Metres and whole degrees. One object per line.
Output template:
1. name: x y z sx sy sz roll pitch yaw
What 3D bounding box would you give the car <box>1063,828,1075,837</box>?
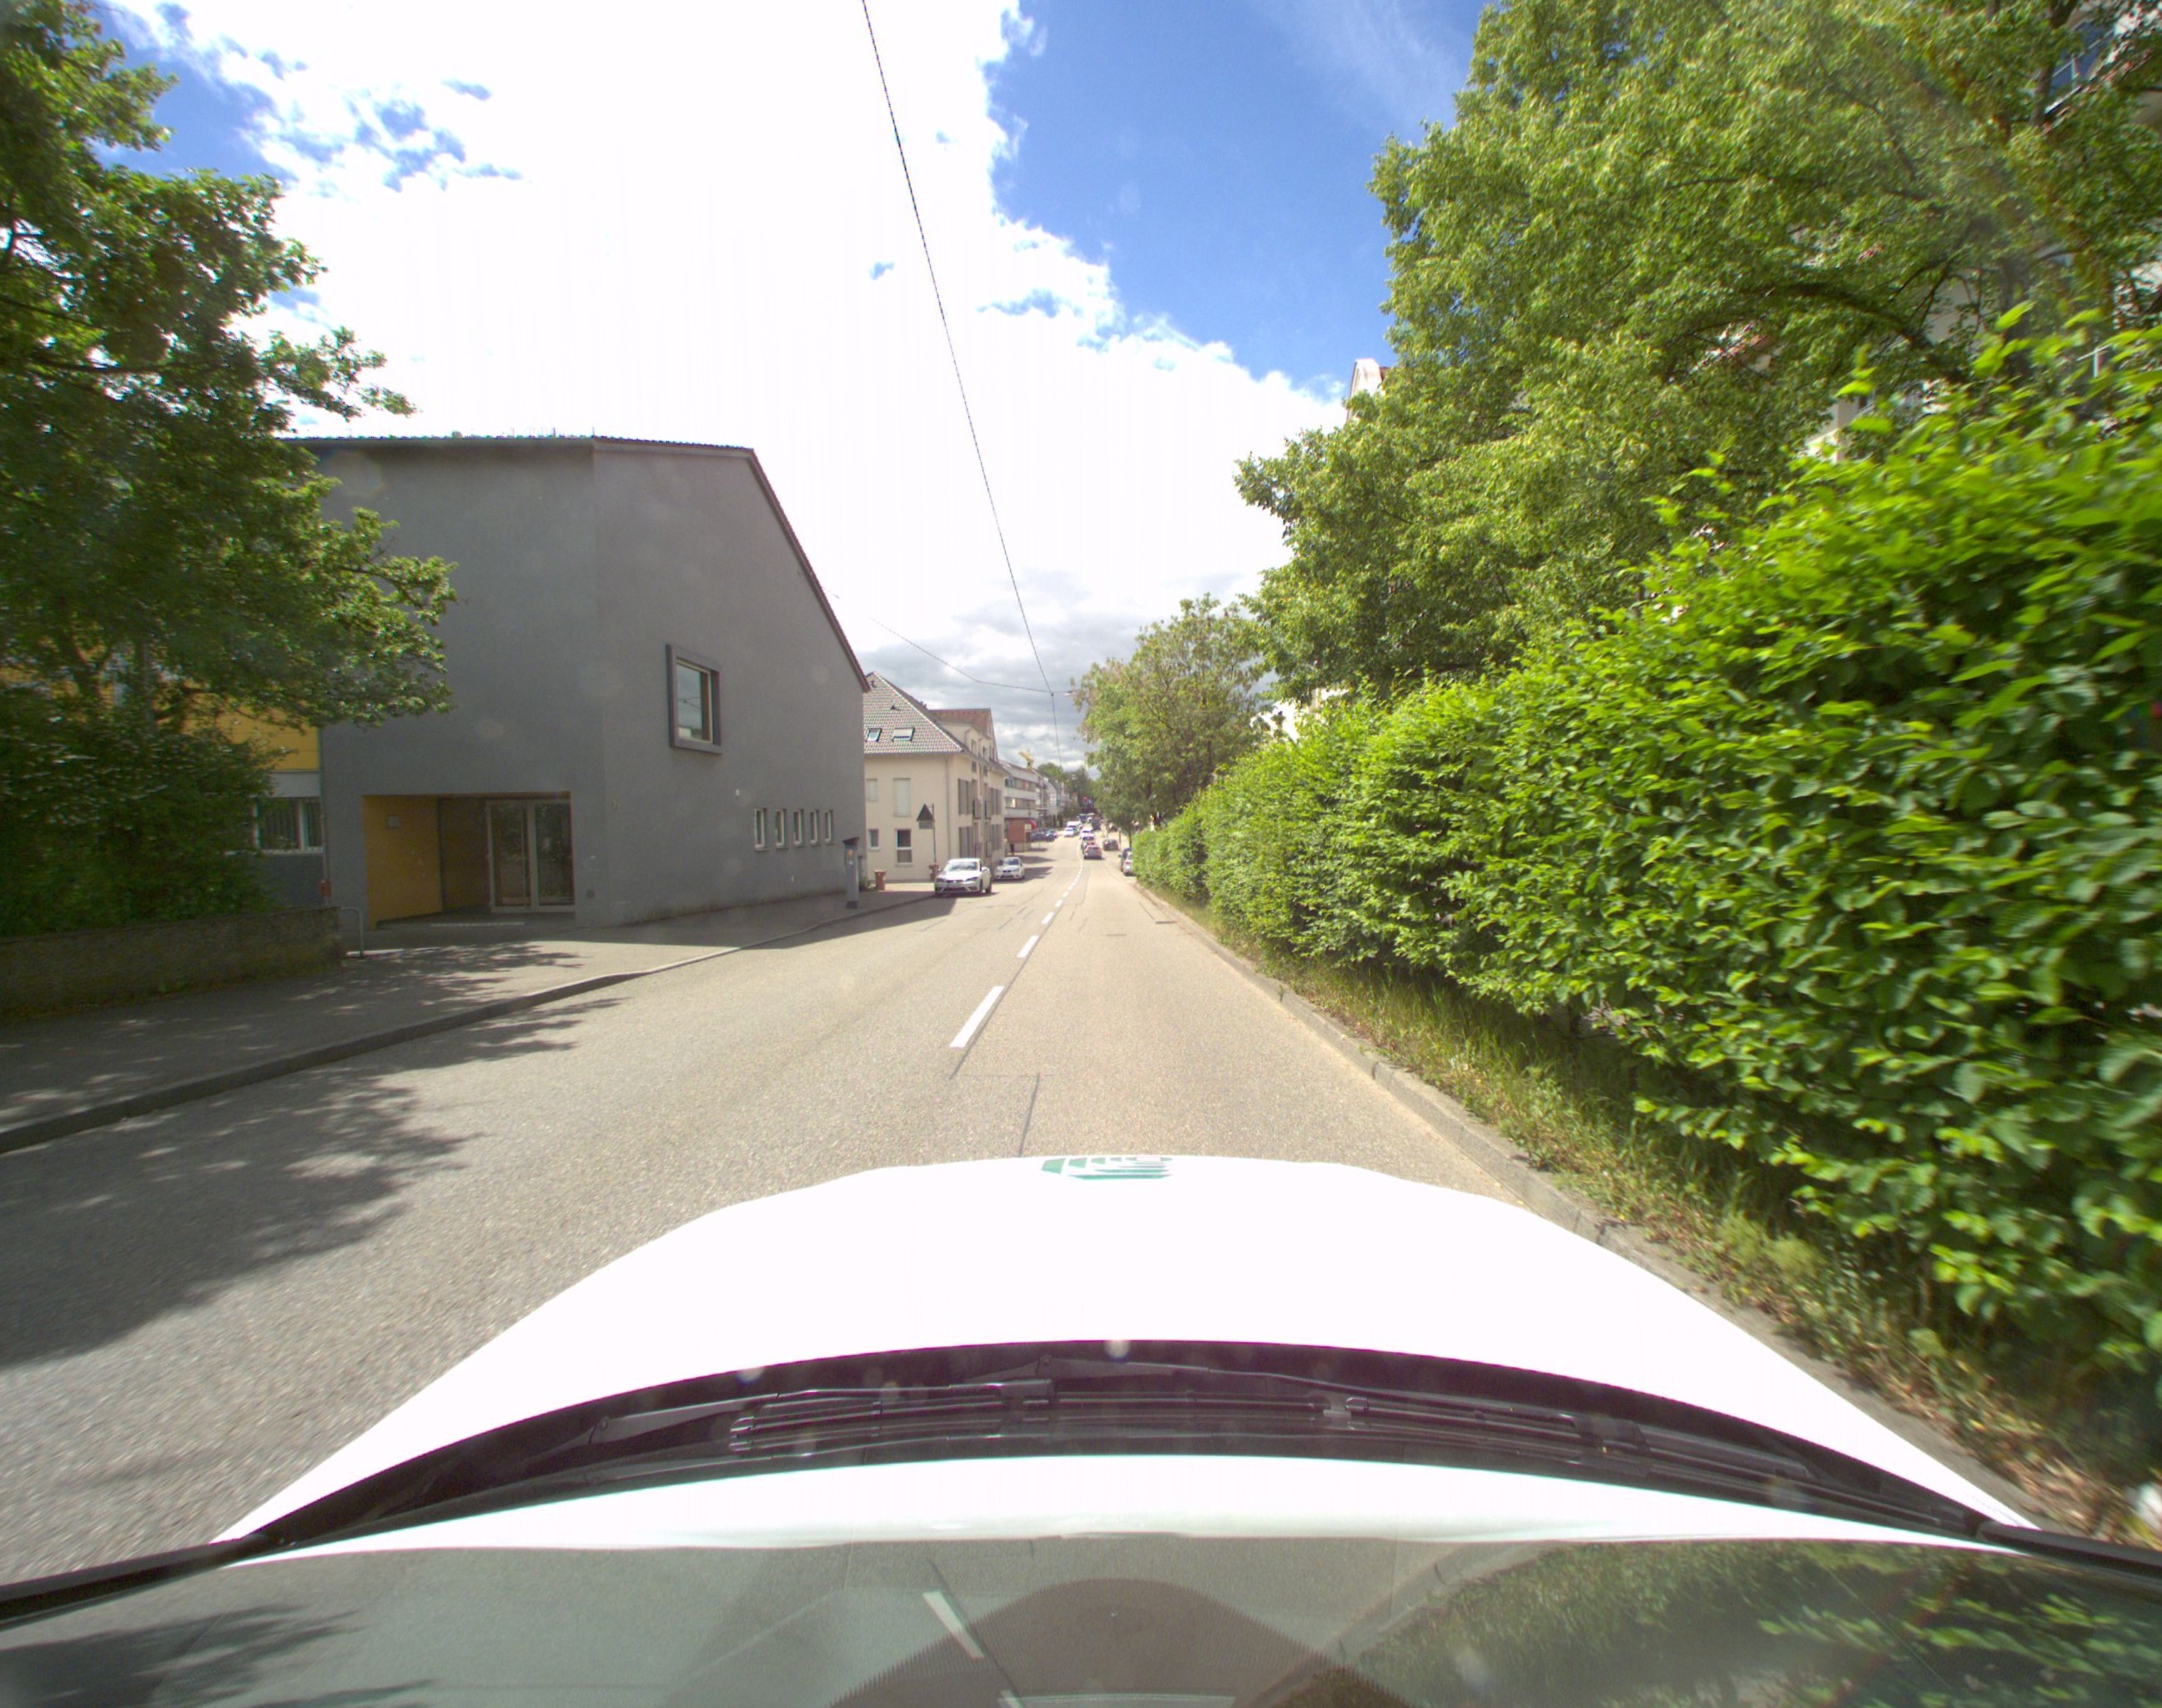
1. car: -2.139 -3.893 148.407 1.865 1.640 4.004 0 1 3

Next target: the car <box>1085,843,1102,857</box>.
1. car: 1.313 -0.439 85.966 1.738 1.416 4.001 -2 1 1

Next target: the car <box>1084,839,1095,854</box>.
1. car: 1.008 -0.891 94.706 1.269 1.527 3.051 -2 4 0

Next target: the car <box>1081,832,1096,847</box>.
1. car: 0.966 -1.857 105.314 1.830 1.862 3.851 -1 1 1

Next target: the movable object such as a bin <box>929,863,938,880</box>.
1. movable object such as a bin: -8.424 1.014 46.536 0.412 0.953 0.391 -2 0 -2

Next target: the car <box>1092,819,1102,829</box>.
1. car: 3.625 -6.782 185.636 2.428 2.318 5.327 0 1 1

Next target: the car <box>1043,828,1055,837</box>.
1. car: -5.674 -3.851 144.796 1.865 1.640 4.004 0 1 3

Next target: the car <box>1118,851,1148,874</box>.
1. car: 3.496 0.548 55.432 1.780 1.509 4.365 -1 1 1

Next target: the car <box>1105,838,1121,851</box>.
1. car: 3.975 -1.239 101.627 1.748 1.370 3.999 -1 4 -2

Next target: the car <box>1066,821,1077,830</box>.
1. car: -1.967 -5.693 162.722 1.865 1.640 4.004 -1 0 3

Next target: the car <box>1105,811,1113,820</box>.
1. car: 6.845 -9.439 199.389 1.795 2.013 4.001 -1 0 1

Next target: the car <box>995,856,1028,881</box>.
1. car: -4.276 0.882 50.413 1.641 1.418 3.699 -2 1 1

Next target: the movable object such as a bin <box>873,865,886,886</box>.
1. movable object such as a bin: -9.269 0.991 37.386 0.453 0.929 0.399 -2 0 0

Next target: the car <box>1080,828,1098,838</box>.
1. car: 1.428 -3.549 138.164 1.766 1.557 4.020 -2 1 19

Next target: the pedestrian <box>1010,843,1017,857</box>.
1. pedestrian: -7.717 -0.413 93.066 0.628 1.602 0.561 -1 1 -10

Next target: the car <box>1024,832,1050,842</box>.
1. car: -6.695 -2.582 125.049 3.668 1.614 1.562 0 1 -26

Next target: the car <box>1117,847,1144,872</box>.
1. car: 3.664 0.400 61.160 1.838 1.767 4.516 -1 1 1

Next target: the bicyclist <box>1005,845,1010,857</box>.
1. bicyclist: -7.699 -0.294 85.112 0.456 1.179 0.625 -2 1 0

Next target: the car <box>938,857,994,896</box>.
1. car: -4.506 0.864 32.350 1.692 1.390 3.865 -1 0 -1
